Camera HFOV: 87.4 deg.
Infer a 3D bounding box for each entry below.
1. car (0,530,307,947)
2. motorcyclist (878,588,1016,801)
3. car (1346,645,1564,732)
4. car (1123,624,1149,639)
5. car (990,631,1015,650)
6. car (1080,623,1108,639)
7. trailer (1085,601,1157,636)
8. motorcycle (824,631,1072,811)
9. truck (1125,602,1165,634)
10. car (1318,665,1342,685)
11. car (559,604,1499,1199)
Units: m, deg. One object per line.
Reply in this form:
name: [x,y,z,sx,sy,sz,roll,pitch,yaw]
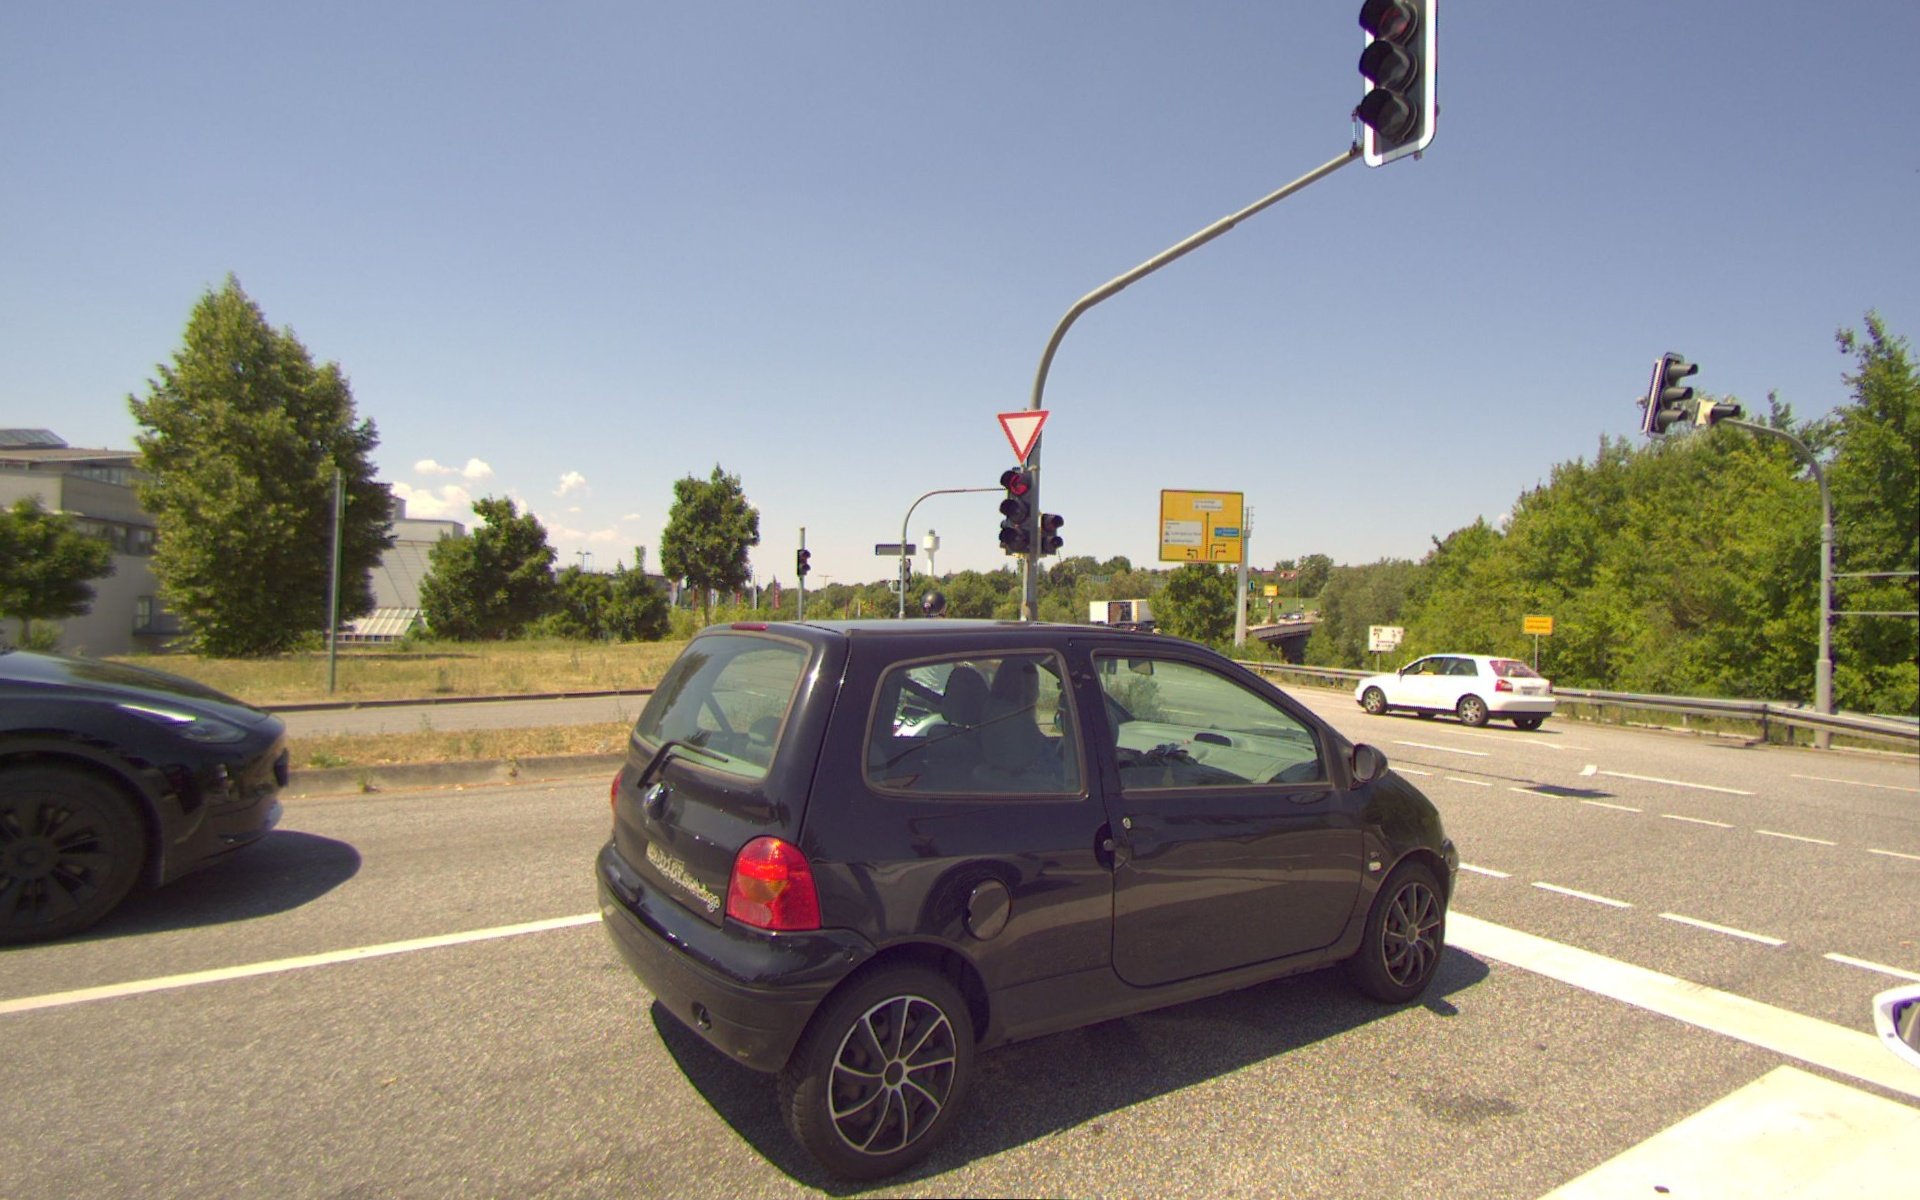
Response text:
car: [-5.274,0.498,3.939,4.462,1.622,1.862,2,0,-36]
motorcyclist: [-0.104,0.712,7.892,0.838,1.560,0.607,3,0,-34]
car: [10.172,1.784,20.963,1.624,1.413,3.970,5,-2,-22]
car: [21.149,3.760,120.461,1.849,1.644,3.992,1,0,30]
car: [3.663,3.505,86.206,1.775,1.452,3.932,4,-2,8]
car: [15.825,3.687,118.683,1.852,1.755,3.992,1,0,30]
trailer: [21.455,2.332,133.005,3.187,4.305,15.361,1,1,34]
motorcycle: [-0.057,0.912,7.915,1.921,1.255,0.572,3,-1,-35]
truck: [25.737,2.410,139.309,3.188,4.305,6.218,1,1,34]
car: [31.044,6.239,84.184,1.776,1.452,4.414,4,-2,21]
car: [0.383,0.777,3.818,3.267,1.426,1.609,2,-1,-34]
